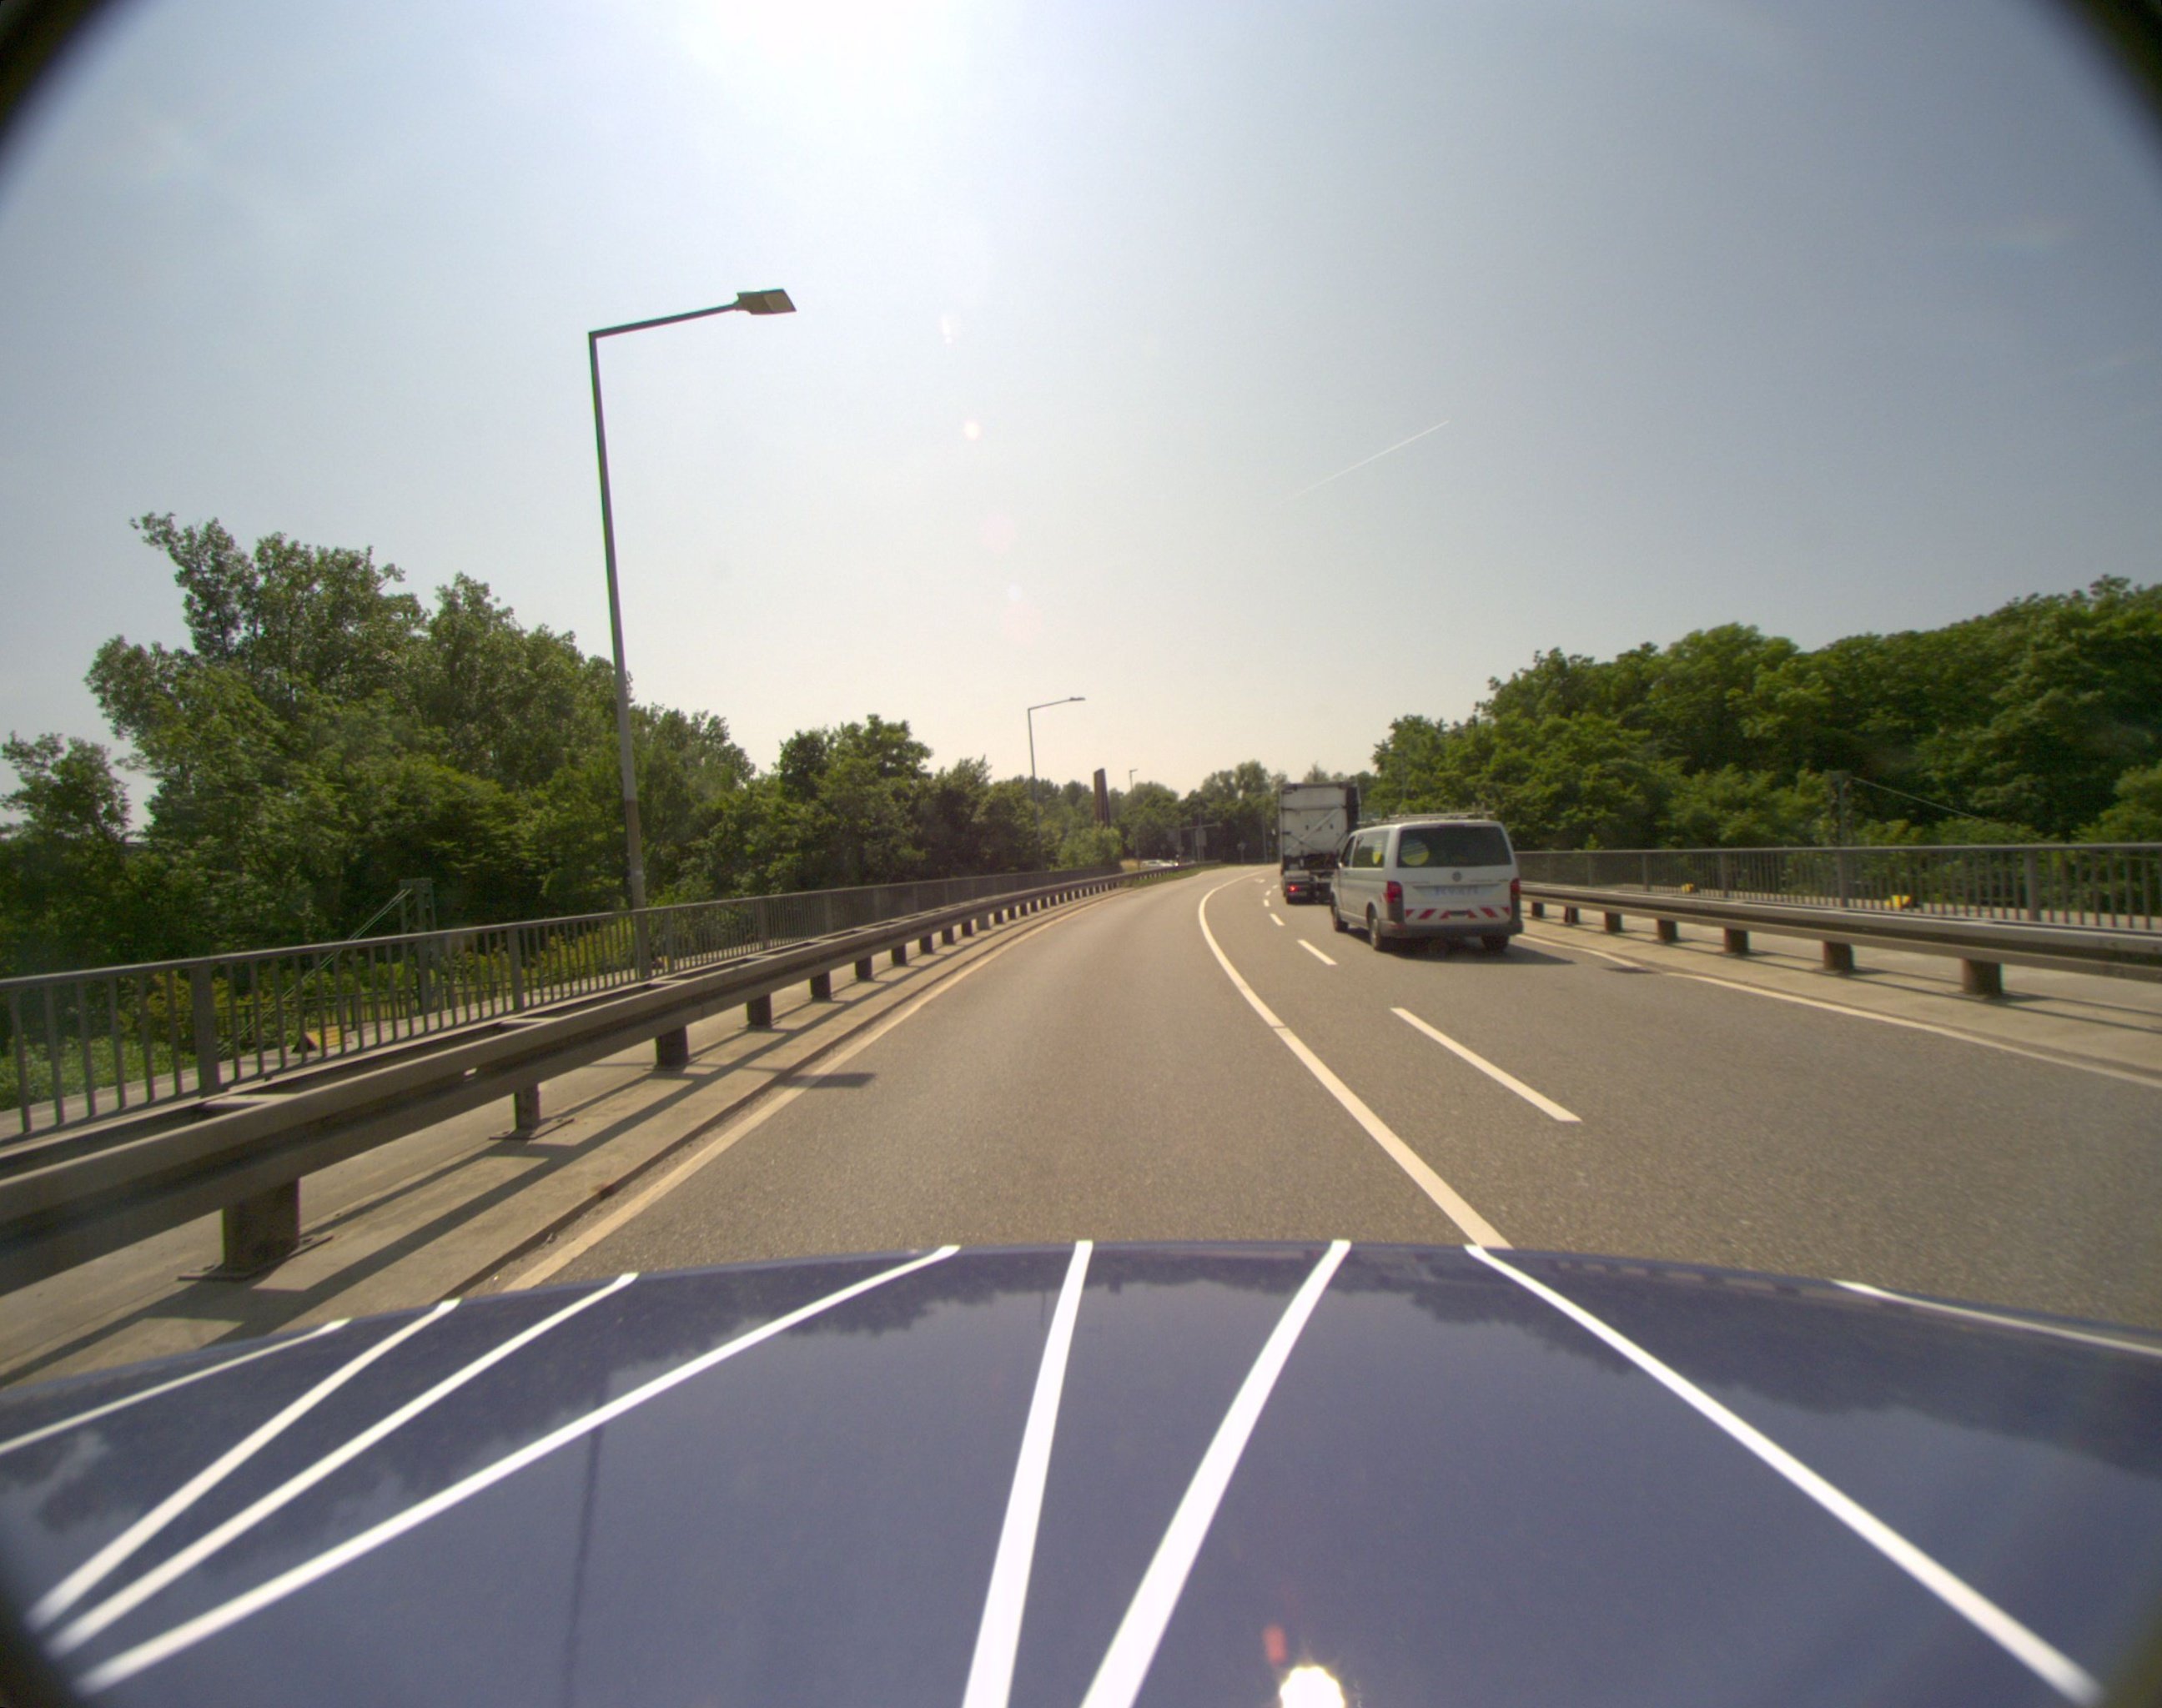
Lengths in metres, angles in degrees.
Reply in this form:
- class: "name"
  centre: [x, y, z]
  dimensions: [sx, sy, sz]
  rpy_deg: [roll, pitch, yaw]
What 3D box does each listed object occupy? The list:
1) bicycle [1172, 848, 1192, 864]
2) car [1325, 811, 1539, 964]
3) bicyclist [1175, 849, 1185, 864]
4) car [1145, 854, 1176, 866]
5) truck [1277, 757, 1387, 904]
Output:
- class: "bicycle"
  centre: [10.746, 0.238, 80.955]
  dimensions: [0.657, 1.564, 2.369]
  rpy_deg: [-3, 0, -36]
- class: "car"
  centre: [5.419, 0.452, 12.501]
  dimensions: [1.864, 1.988, 4.817]
  rpy_deg: [-2, 0, 8]
- class: "bicyclist"
  centre: [10.601, 0.260, 81.194]
  dimensions: [0.672, 1.589, 0.690]
  rpy_deg: [-3, 0, -36]
- class: "car"
  centre: [11.189, 0.836, 107.257]
  dimensions: [1.871, 1.497, 4.286]
  rpy_deg: [-3, -1, -40]
- class: "truck"
  centre: [7.671, -0.624, 23.942]
  dimensions: [2.710, 3.968, 6.192]
  rpy_deg: [-1, 0, 13]
